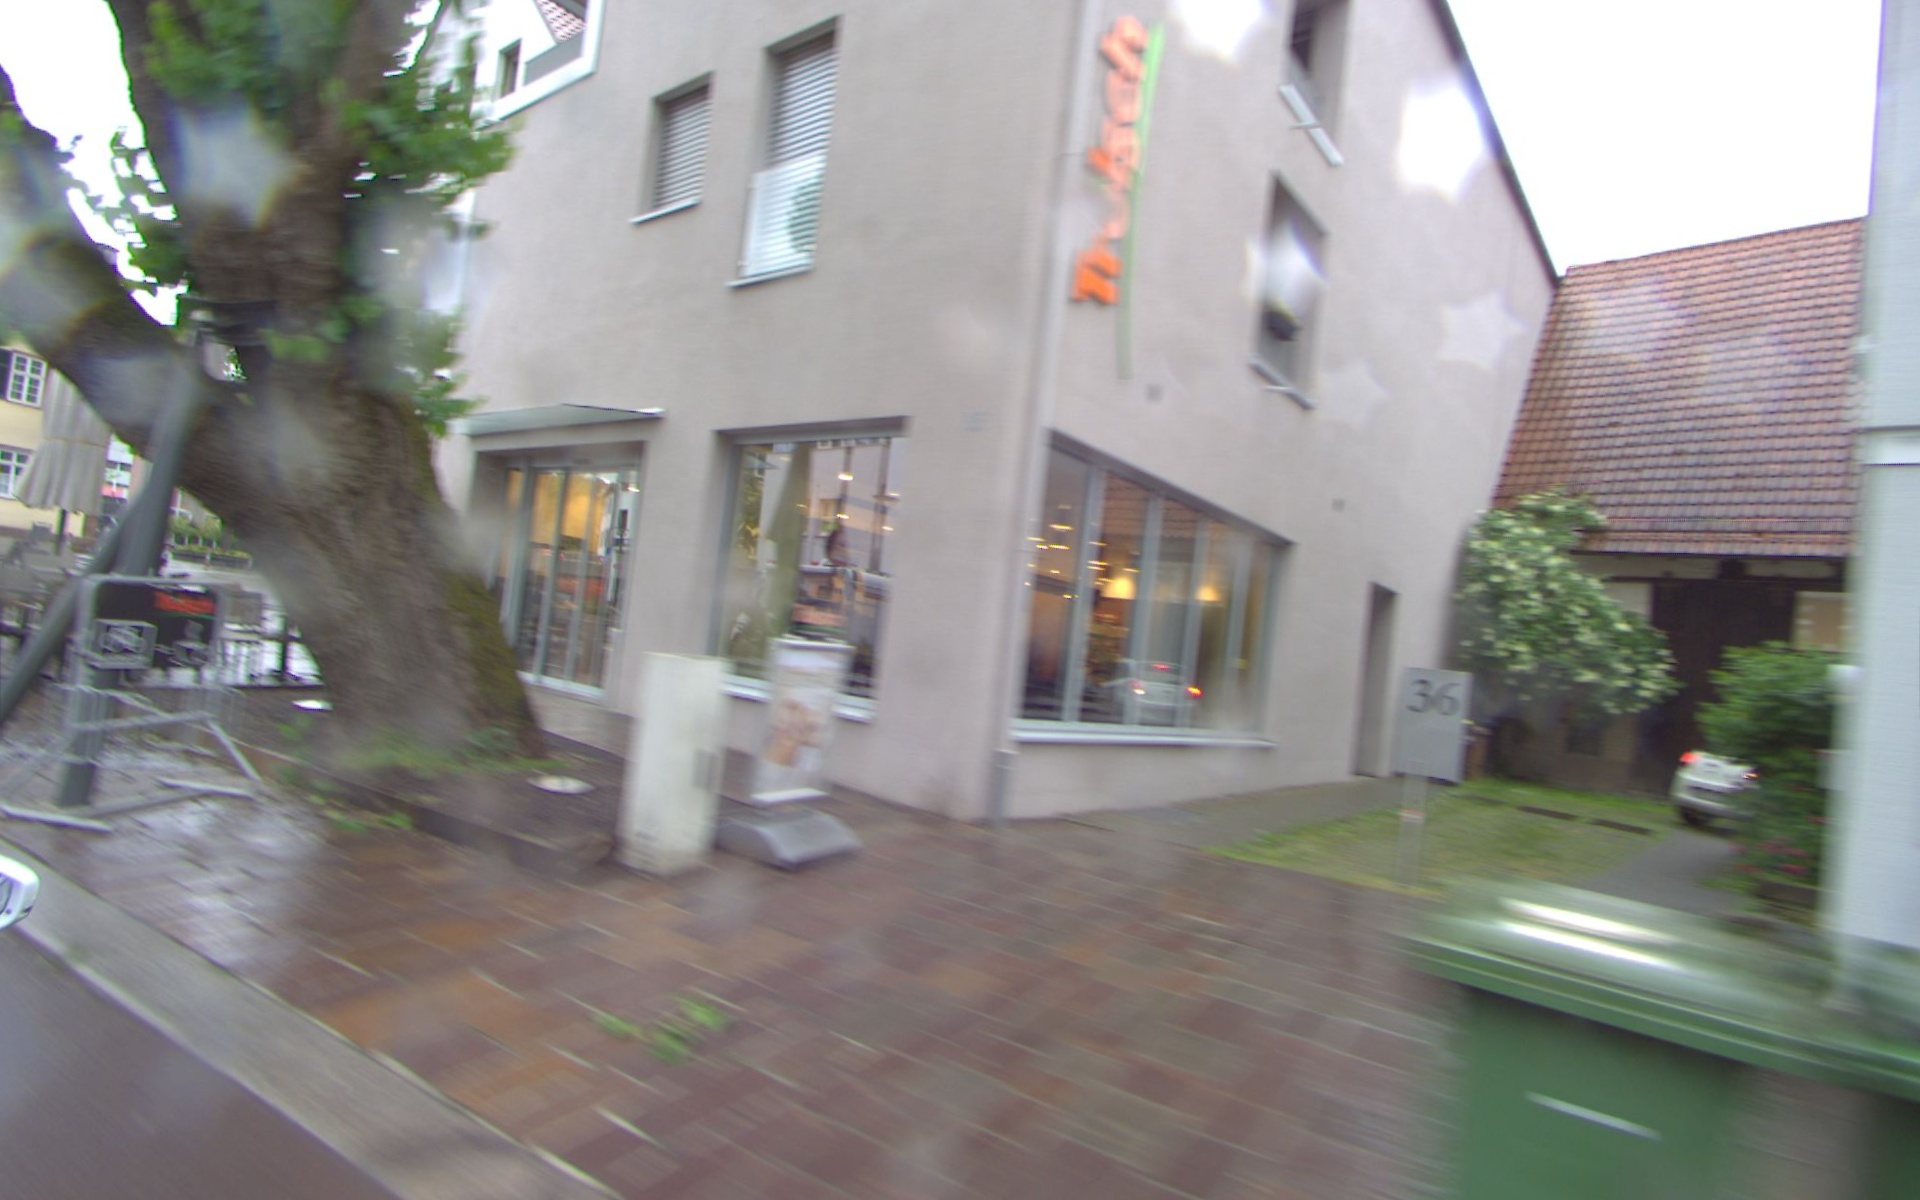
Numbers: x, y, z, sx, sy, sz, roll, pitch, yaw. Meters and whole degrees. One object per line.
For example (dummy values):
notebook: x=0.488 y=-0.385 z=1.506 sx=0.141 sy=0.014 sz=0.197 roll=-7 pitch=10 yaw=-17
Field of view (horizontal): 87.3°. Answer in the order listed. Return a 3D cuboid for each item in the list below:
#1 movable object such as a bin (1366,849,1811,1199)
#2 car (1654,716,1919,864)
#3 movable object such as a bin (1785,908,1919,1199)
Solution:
movable object such as a bin: x=1.155 y=1.118 z=1.923 sx=0.568 sy=1.092 sz=0.729 roll=5 pitch=-2 yaw=35
car: x=12.135 y=2.665 z=13.926 sx=3.929 sy=1.496 sz=1.585 roll=7 pitch=0 yaw=-5
movable object such as a bin: x=1.723 y=1.171 z=1.609 sx=0.553 sy=1.114 sz=0.729 roll=5 pitch=-2 yaw=35
